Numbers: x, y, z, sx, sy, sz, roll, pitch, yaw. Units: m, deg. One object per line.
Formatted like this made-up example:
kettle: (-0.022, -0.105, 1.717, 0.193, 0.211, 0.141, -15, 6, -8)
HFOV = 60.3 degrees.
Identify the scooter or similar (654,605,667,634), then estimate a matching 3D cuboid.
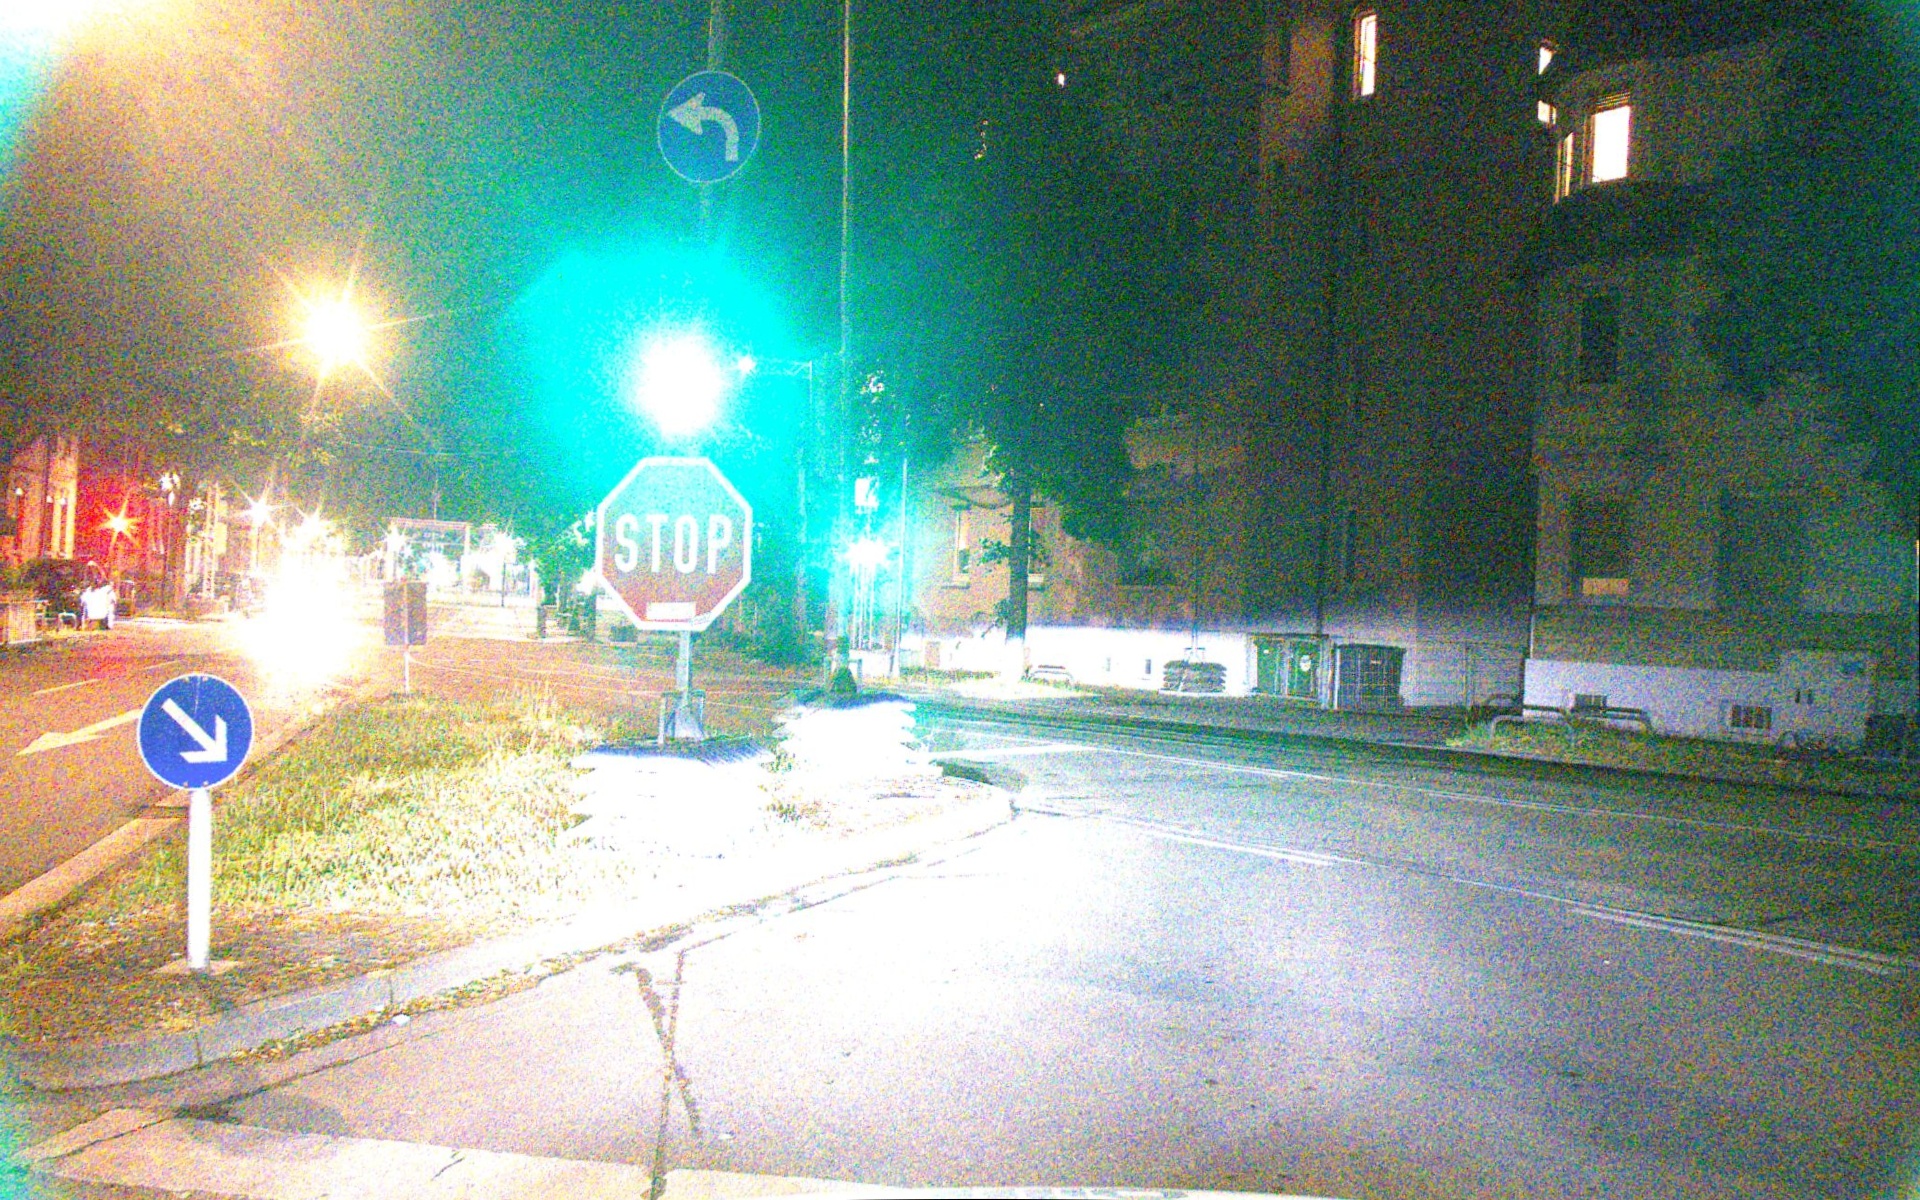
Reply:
scooter or similar: (-12.436, 0.800, 68.647, 0.414, 1.150, 1.491, 2, 0, -8)

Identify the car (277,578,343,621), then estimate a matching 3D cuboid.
car: (-23.002, -0.033, 58.621, 1.687, 1.454, 3.984, 1, 0, -15)

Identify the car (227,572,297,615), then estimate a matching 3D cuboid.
car: (-27.897, -0.257, 66.243, 1.754, 1.517, 4.314, 6, -1, -14)

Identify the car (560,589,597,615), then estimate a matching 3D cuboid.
car: (-24.036, 0.135, 104.050, 1.708, 1.485, 4.701, 4, -1, -19)

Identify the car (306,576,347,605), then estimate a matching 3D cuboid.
car: (-35.115, -0.565, 91.736, 1.756, 1.440, 4.107, 5, -1, -17)

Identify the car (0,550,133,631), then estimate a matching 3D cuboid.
car: (-20.449, -0.212, 37.730, 1.854, 1.624, 4.009, 5, -1, -14)

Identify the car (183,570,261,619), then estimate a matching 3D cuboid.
car: (-25.792, -0.188, 57.932, 1.564, 1.517, 3.689, 6, -1, -11)

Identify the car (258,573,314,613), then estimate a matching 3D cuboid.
car: (-29.280, -0.326, 71.896, 1.757, 1.517, 3.981, 6, -1, -17)
